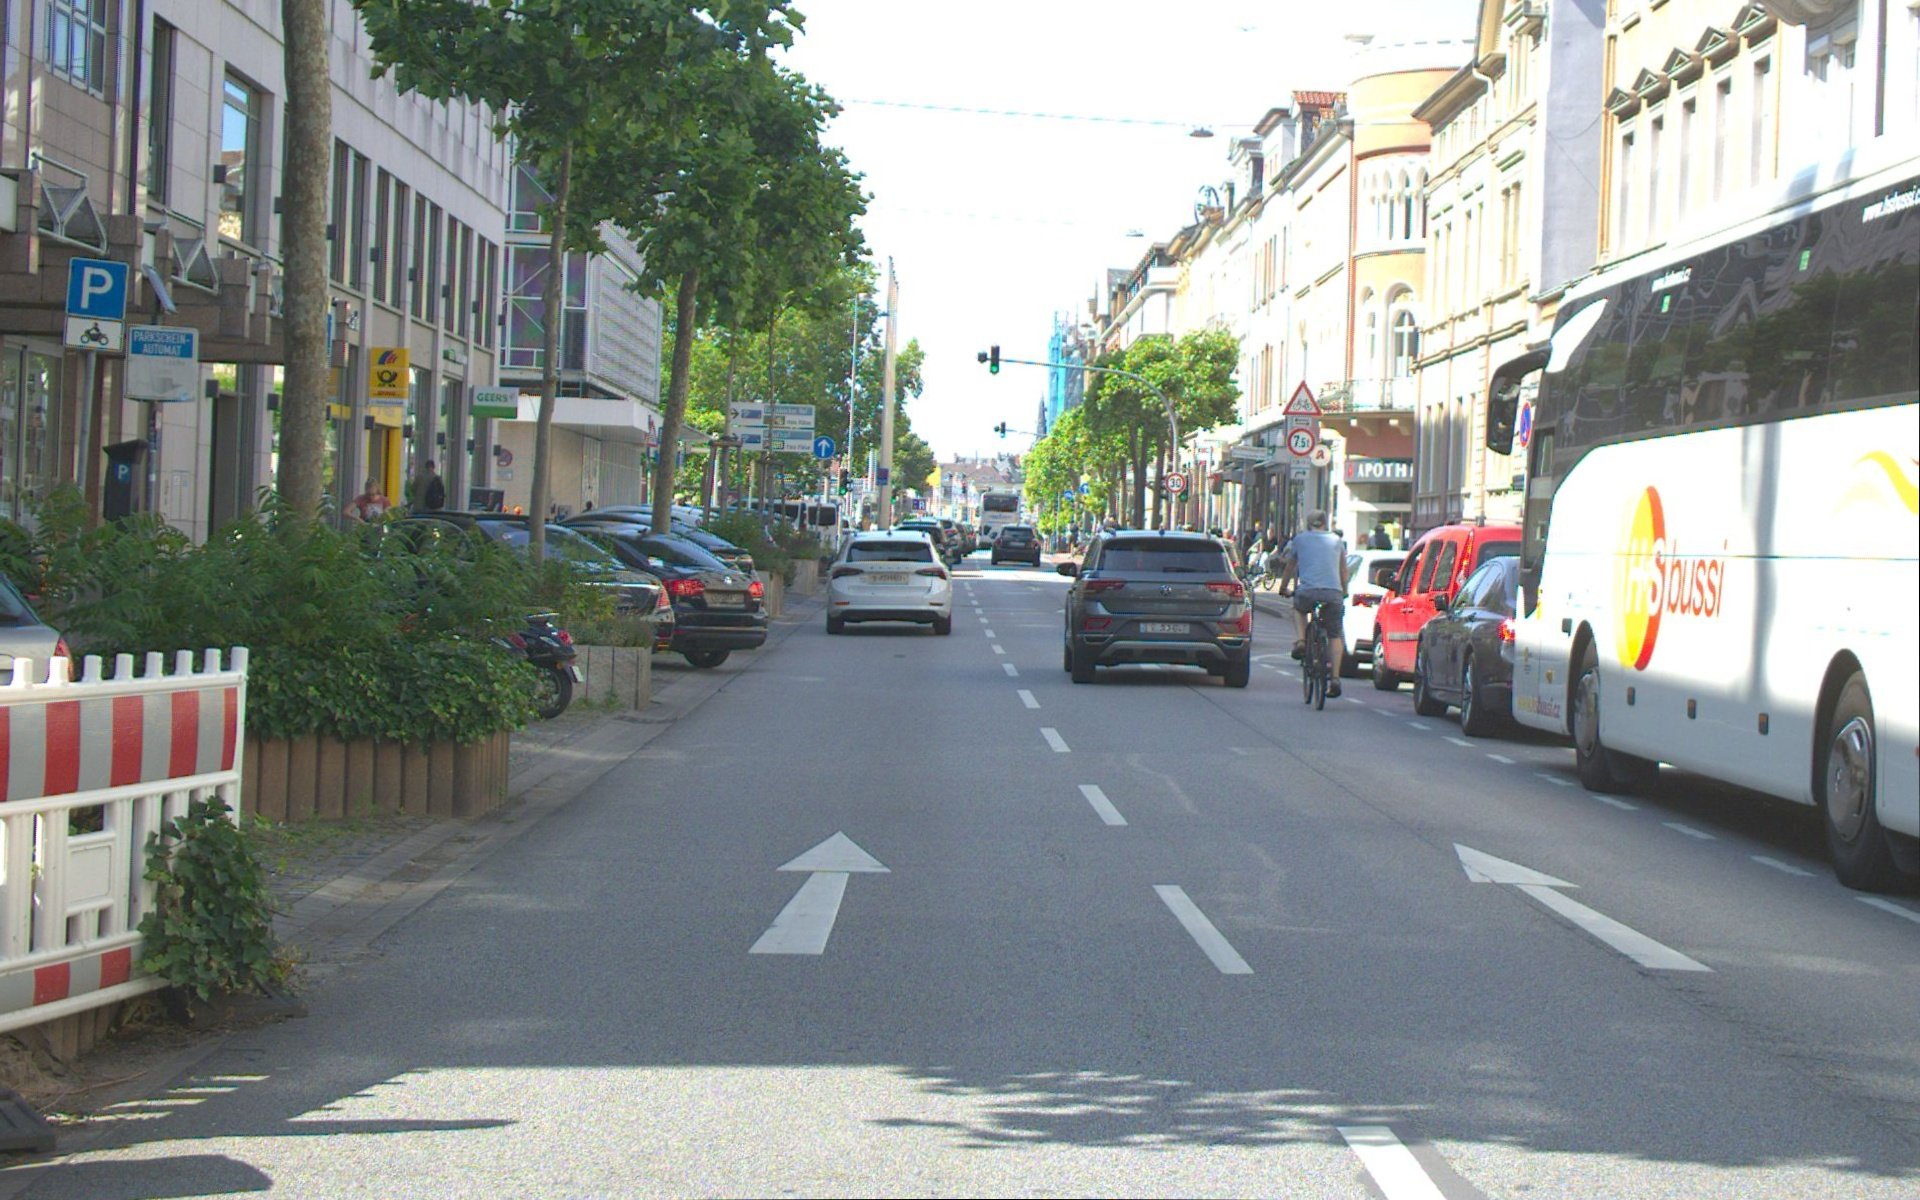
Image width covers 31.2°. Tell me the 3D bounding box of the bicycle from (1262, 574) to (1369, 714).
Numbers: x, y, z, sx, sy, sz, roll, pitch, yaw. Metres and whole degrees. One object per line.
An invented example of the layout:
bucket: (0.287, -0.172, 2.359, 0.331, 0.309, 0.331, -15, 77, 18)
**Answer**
bicycle: (3.201, 0.376, 31.132, 0.664, 1.116, 2.243, 4, 2, 0)

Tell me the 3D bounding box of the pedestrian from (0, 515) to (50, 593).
pedestrian: (-10.687, -0.525, 38.766, 0.566, 0.806, 0.774, 7, 1, 0)

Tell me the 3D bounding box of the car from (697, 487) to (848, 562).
car: (-6.151, -2.474, 112.317, 4.721, 1.996, 1.937, 6, 1, 40)

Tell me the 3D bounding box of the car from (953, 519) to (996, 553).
car: (0.672, -2.936, 158.529, 1.863, 1.436, 4.000, 1, -1, -1)

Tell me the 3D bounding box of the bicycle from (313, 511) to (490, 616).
bicycle: (-6.876, -0.450, 42.376, 2.064, 1.126, 0.464, 4, 0, -7)

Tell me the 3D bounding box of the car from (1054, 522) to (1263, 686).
car: (1.974, 0.002, 35.315, 1.833, 1.522, 4.000, 2, 1, 0)

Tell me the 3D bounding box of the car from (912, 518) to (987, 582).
car: (-0.274, -1.225, 82.895, 1.743, 1.436, 4.000, 2, 1, -1)

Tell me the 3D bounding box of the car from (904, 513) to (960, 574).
car: (-1.012, -1.986, 122.190, 1.863, 2.023, 4.000, 2, 0, -1)

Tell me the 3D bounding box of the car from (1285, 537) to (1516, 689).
car: (5.083, 0.100, 40.258, 1.813, 1.461, 4.581, 4, 2, -3)

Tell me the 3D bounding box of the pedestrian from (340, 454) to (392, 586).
pedestrian: (-7.590, -1.021, 43.940, 0.565, 1.651, 0.637, 2, 1, -6)

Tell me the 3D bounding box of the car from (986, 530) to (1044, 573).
car: (1.918, -1.728, 121.239, 1.863, 1.436, 4.000, 2, 1, -1)

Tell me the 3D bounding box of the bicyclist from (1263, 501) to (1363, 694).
bicyclist: (3.193, -0.034, 31.154, 0.694, 1.667, 0.916, 4, 2, 1)

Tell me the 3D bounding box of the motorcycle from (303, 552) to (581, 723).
motorcycle: (-3.902, 0.268, 25.875, 1.912, 1.166, 0.728, 3, 2, 20)

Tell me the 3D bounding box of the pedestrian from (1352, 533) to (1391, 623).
pedestrian: (8.363, -0.447, 69.884, 0.652, 1.803, 0.729, 2, 1, 3)

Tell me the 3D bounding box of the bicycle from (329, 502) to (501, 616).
bicycle: (-6.944, -0.525, 43.817, 2.064, 1.284, 0.368, 4, 0, -7)

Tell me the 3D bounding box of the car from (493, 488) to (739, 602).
car: (-5.844, -0.948, 58.743, 3.986, 1.495, 1.718, 6, 1, -4)

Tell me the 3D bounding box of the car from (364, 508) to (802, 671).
car: (-4.156, -0.135, 37.398, 4.793, 1.417, 1.879, 5, 3, 40)

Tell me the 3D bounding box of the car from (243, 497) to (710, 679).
car: (-4.901, -0.145, 34.428, 4.754, 1.528, 1.985, 4, 2, 42)

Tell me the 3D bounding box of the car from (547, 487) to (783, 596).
car: (-5.598, -1.114, 65.134, 3.993, 1.563, 1.697, 7, 2, 25)

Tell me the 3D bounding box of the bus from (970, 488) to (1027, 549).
bus: (2.339, -5.073, 212.708, 2.769, 3.592, 8.975, 2, 1, -3)

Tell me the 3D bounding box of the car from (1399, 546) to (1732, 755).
car: (5.023, 0.349, 29.263, 1.859, 1.465, 5.226, 4, 1, 0)

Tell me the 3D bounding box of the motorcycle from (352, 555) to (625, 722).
motorcycle: (-3.647, 0.280, 26.580, 1.912, 1.166, 0.759, 3, 2, 20)

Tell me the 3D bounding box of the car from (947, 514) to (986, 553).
car: (0.335, -3.383, 174.950, 1.863, 1.843, 4.000, 1, -1, -1)

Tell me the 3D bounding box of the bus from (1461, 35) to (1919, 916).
bus: (5.372, -0.574, 18.862, 2.881, 3.729, 12.428, 4, 1, -1)

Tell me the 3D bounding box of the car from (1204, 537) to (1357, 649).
car: (4.659, -0.128, 50.299, 1.822, 1.404, 3.187, 4, 2, 0)

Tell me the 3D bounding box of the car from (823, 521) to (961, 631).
car: (-1.010, -0.378, 49.372, 1.863, 1.436, 4.001, 1, 2, -2)

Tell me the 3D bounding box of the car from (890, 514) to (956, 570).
car: (-1.027, -1.607, 94.389, 1.743, 1.436, 4.000, 2, 1, -1)

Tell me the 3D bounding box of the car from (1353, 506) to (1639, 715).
car: (5.339, 0.043, 34.797, 1.827, 1.857, 4.355, 4, 2, -4)

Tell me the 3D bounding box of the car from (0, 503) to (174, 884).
car: (-5.449, 0.268, 14.851, 4.055, 1.489, 1.931, 4, 2, 41)
